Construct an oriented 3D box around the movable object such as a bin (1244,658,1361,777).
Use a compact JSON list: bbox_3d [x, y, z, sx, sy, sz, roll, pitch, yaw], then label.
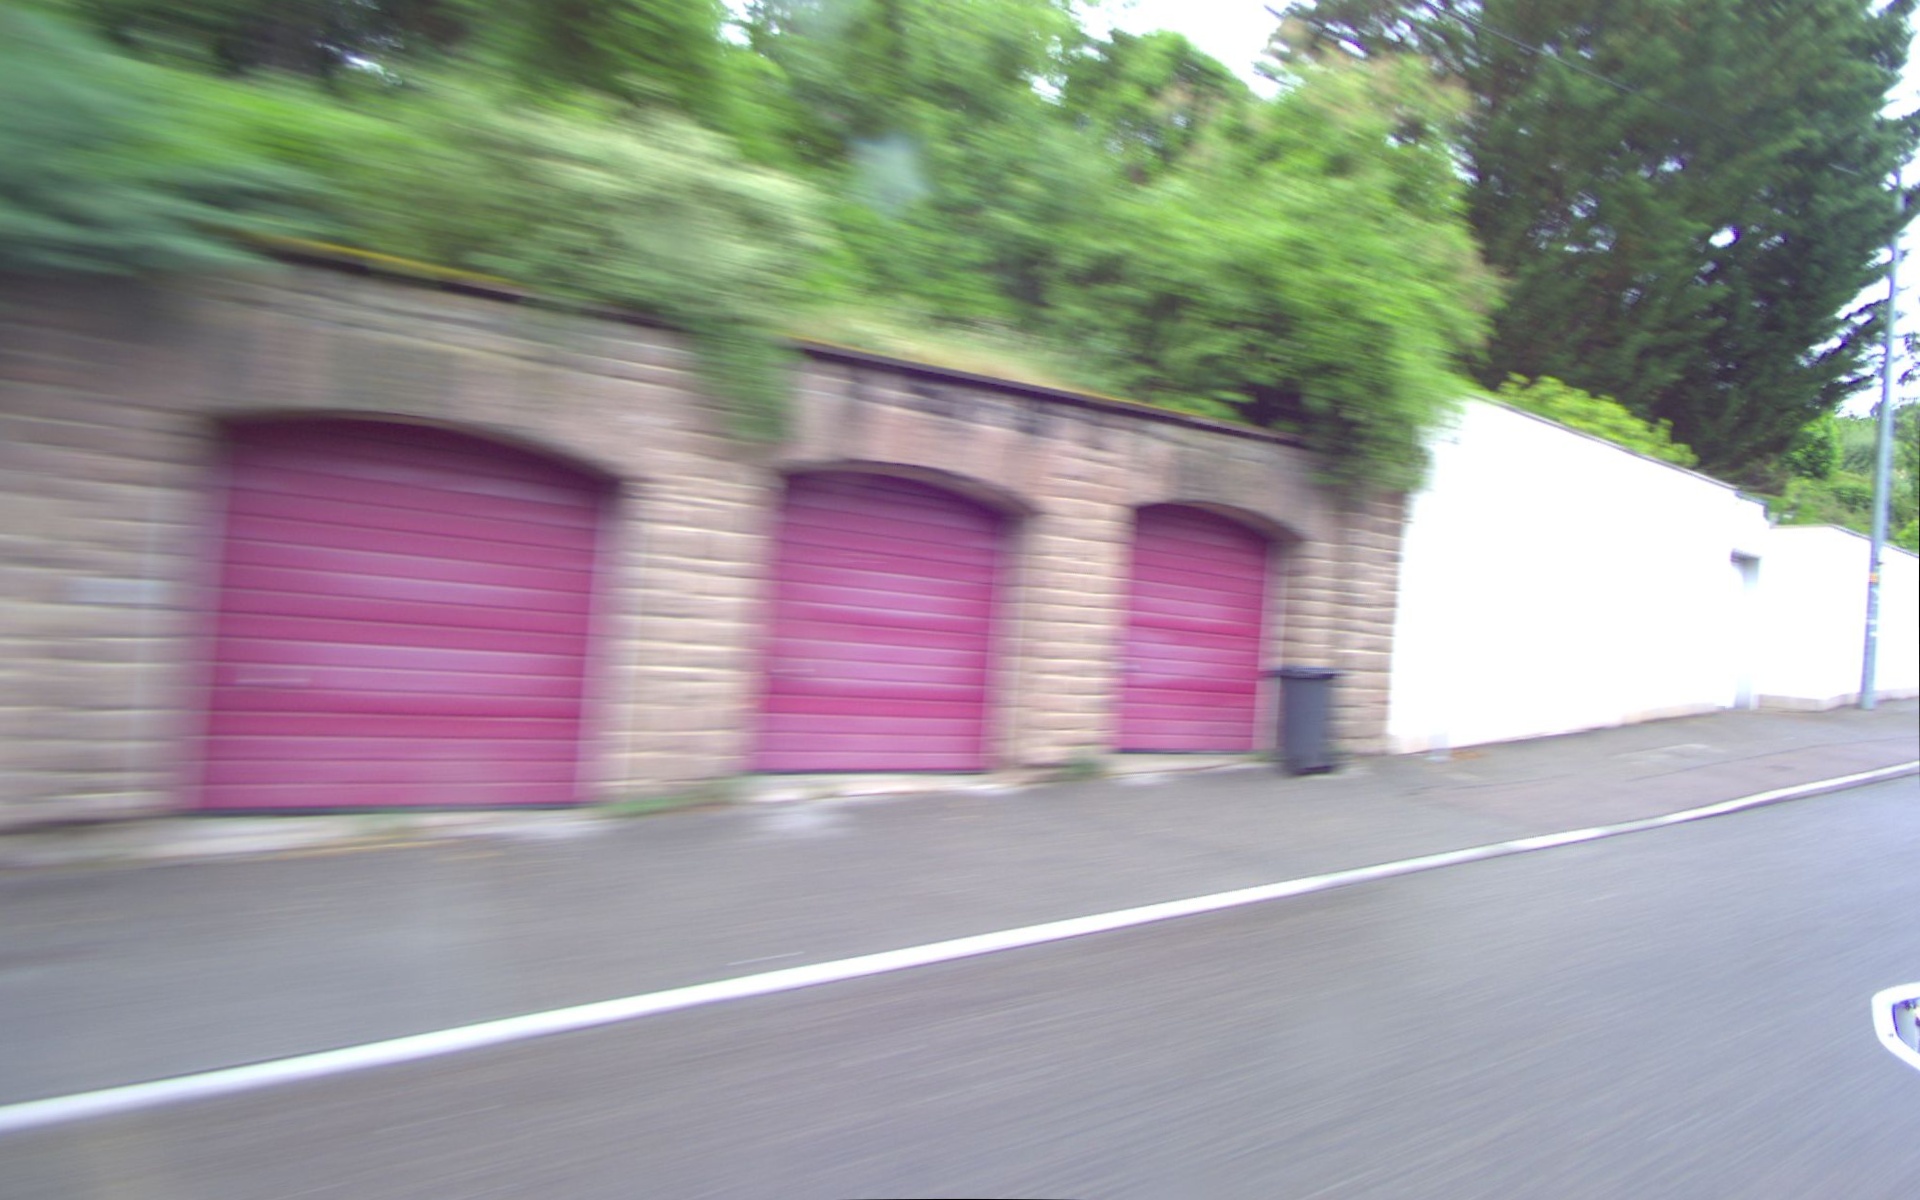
[{"bbox_3d":[2.994,1.001,8.813,0.669,0.932,0.655,2,2,-29],"label":"movable object such as a bin"}]
